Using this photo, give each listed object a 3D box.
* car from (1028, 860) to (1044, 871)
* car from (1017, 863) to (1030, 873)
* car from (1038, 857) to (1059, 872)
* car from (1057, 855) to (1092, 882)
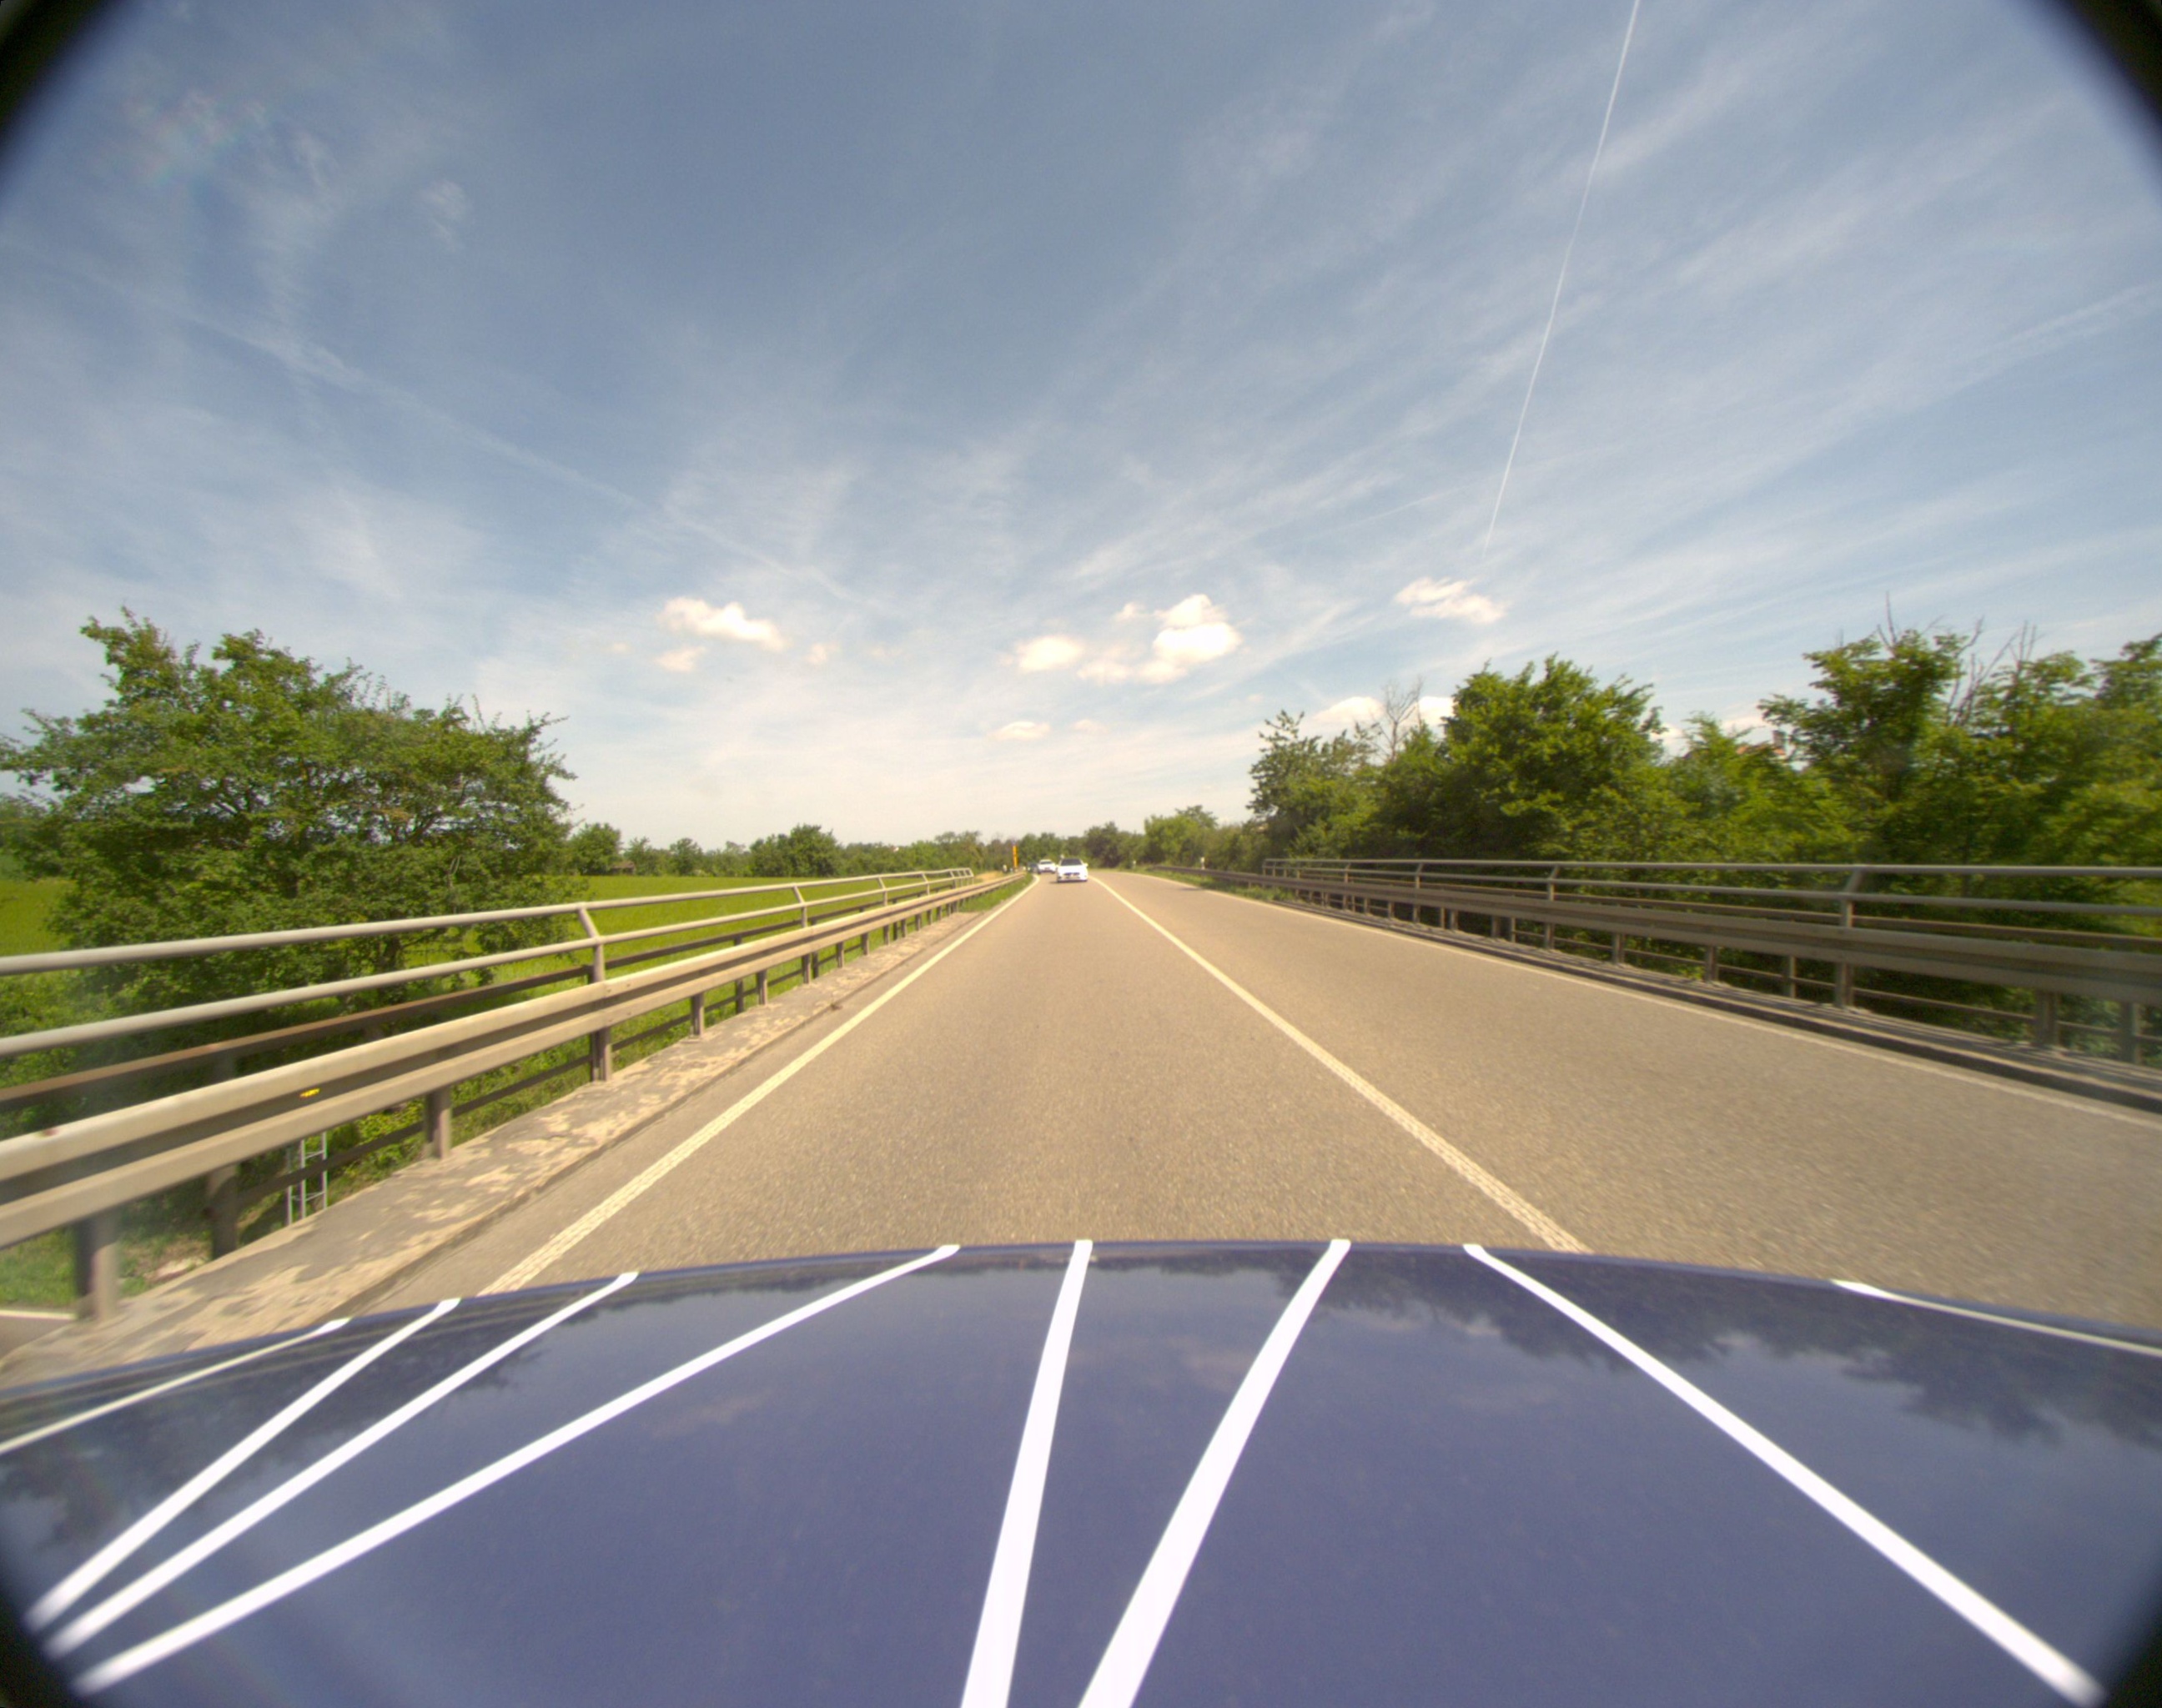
[{"bbox_3d":[-6.156,1.560,103.054,1.930,1.441,4.074,-1,0,-7],"label":"car"},{"bbox_3d":[-9.265,2.233,122.193,1.930,1.441,3.997,-1,0,-6],"label":"car"},{"bbox_3d":[-3.512,1.080,80.645,1.930,1.441,3.998,-4,0,-5],"label":"car"},{"bbox_3d":[-0.458,0.859,46.669,1.930,1.441,4.533,-3,0,-3],"label":"car"}]
